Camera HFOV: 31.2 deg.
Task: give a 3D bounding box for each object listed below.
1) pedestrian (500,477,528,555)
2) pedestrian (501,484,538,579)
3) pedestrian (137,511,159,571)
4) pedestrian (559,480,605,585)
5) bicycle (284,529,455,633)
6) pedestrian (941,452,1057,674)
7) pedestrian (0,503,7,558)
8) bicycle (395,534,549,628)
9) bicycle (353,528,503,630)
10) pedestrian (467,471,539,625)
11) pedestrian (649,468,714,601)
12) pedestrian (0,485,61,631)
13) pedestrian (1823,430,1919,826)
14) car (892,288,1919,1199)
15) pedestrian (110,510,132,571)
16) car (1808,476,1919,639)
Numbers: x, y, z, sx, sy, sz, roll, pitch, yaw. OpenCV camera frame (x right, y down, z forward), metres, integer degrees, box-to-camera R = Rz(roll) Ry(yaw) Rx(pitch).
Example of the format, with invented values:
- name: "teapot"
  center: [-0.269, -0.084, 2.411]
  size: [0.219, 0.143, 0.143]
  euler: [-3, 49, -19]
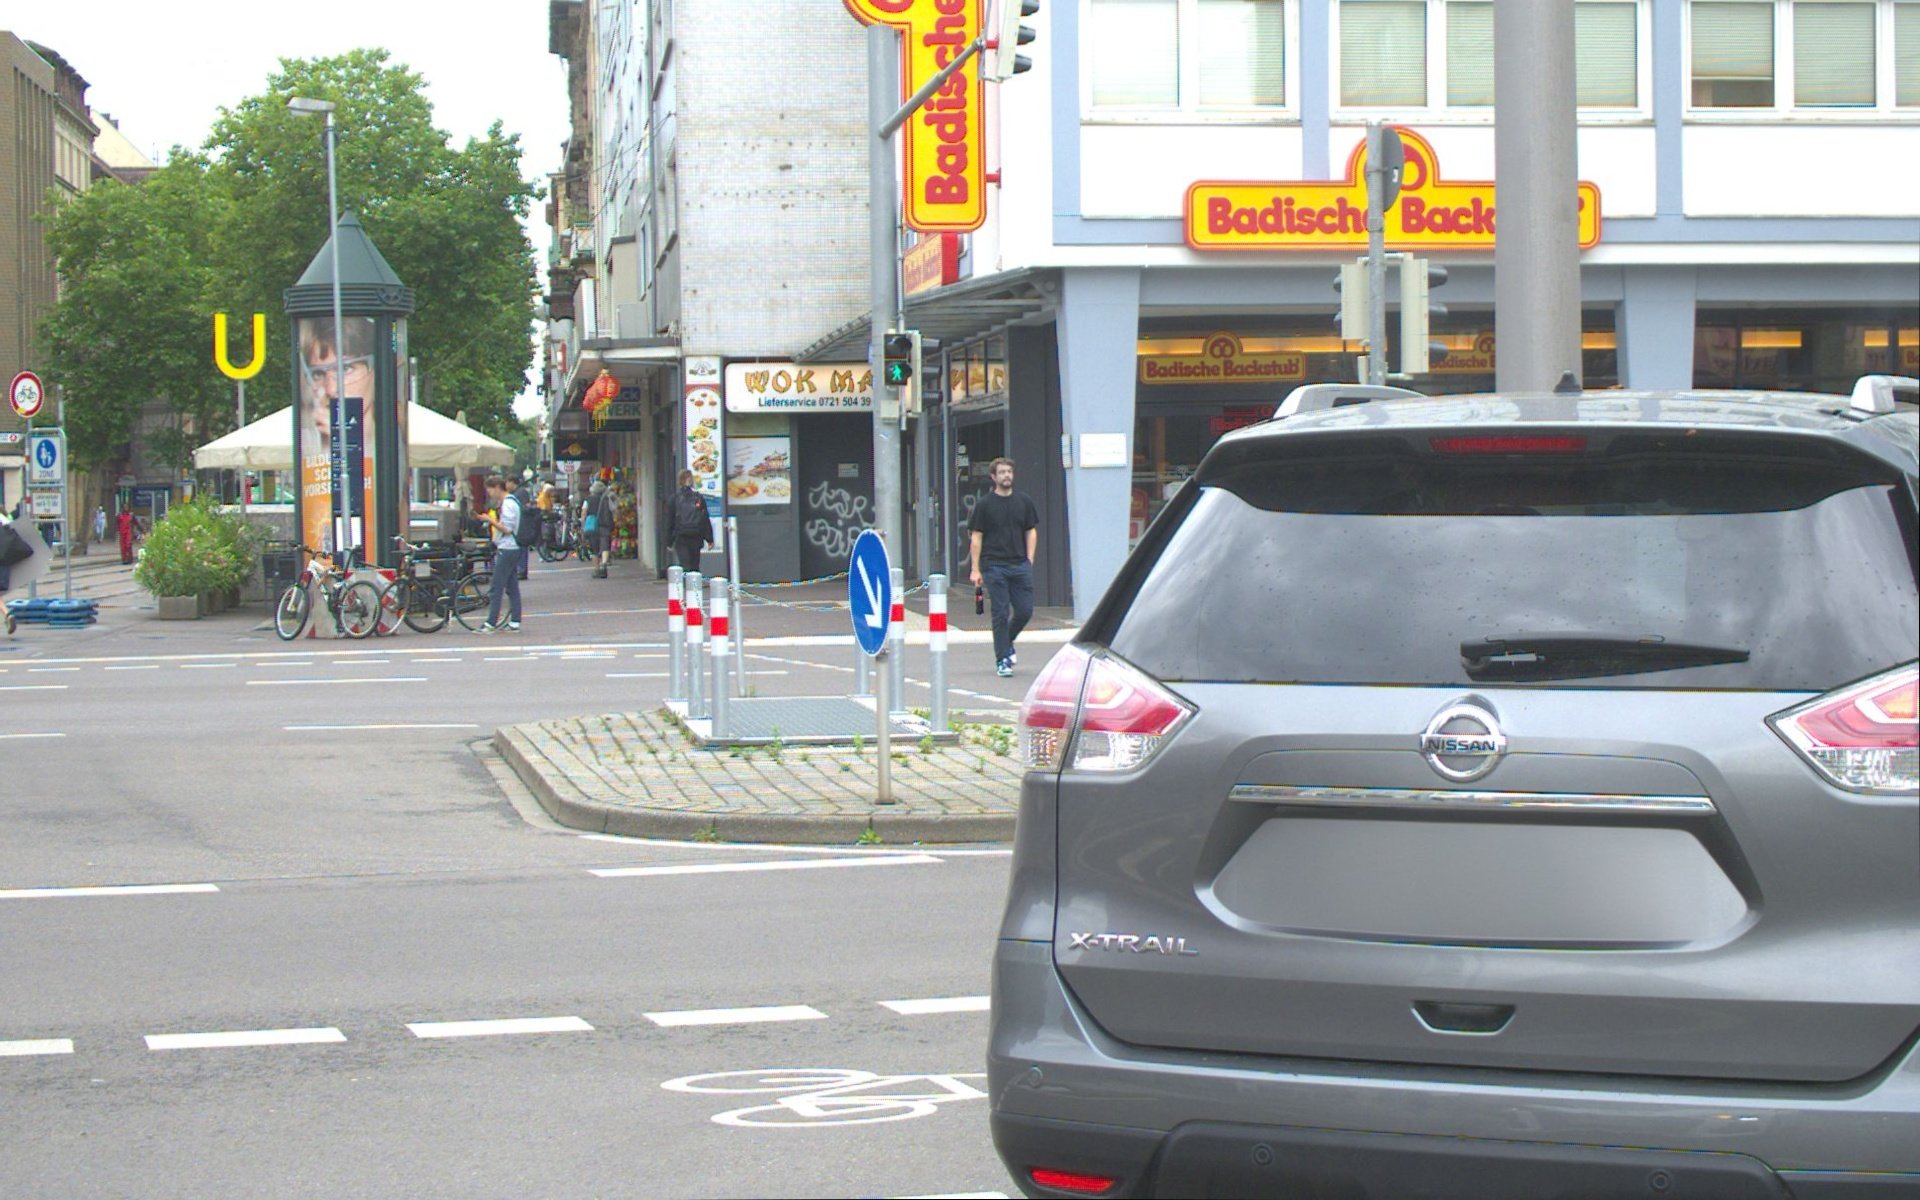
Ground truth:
- name: "pedestrian"
  center: [-9.812, -1.856, 75.635]
  size: [0.611, 1.699, 0.620]
  euler: [0, 1, -6]
- name: "pedestrian"
  center: [-7.931, -1.236, 61.962]
  size: [0.643, 1.699, 0.559]
  euler: [0, 1, -6]
- name: "pedestrian"
  center: [-22.984, -1.672, 97.337]
  size: [0.600, 1.708, 0.656]
  euler: [0, 2, -14]
- name: "pedestrian"
  center: [-6.596, -1.188, 59.982]
  size: [0.737, 1.815, 0.662]
  euler: [-1, 2, -9]
- name: "bicycle"
  center: [-6.750, -0.222, 39.306]
  size: [1.867, 1.167, 0.531]
  euler: [0, 2, -21]
- name: "pedestrian"
  center: [0.320, -0.319, 28.850]
  size: [0.712, 1.826, 1.017]
  euler: [0, 2, -15]
- name: "pedestrian"
  center: [-29.777, -2.146, 106.244]
  size: [0.600, 1.708, 0.656]
  euler: [0, 2, -14]
- name: "bicycle"
  center: [-5.601, -0.217, 39.490]
  size: [1.696, 1.062, 0.437]
  euler: [0, 1, 0]
- name: "bicycle"
  center: [-6.192, -0.249, 40.005]
  size: [1.695, 1.167, 0.437]
  euler: [0, 2, -14]
- name: "pedestrian"
  center: [-5.216, -0.595, 39.188]
  size: [0.732, 1.739, 0.663]
  euler: [0, 2, -15]
- name: "pedestrian"
  center: [-3.602, -0.851, 44.456]
  size: [0.710, 1.699, 0.734]
  euler: [1, 1, 5]
- name: "pedestrian"
  center: [-11.239, -0.505, 40.695]
  size: [0.926, 1.699, 0.734]
  euler: [1, 2, 13]
- name: "pedestrian"
  center: [4.424, 0.112, 15.690]
  size: [0.621, 1.755, 0.780]
  euler: [0, 2, -15]
- name: "car"
  center: [1.531, 0.402, 7.023]
  size: [1.865, 1.768, 4.563]
  euler: [1, 2, 19]
- name: "pedestrian"
  center: [-23.700, -1.675, 97.132]
  size: [0.600, 1.708, 0.656]
  euler: [0, 2, -14]
- name: "car"
  center: [10.540, -0.470, 32.504]
  size: [4.551, 1.476, 1.749]
  euler: [-2, 1, -9]
